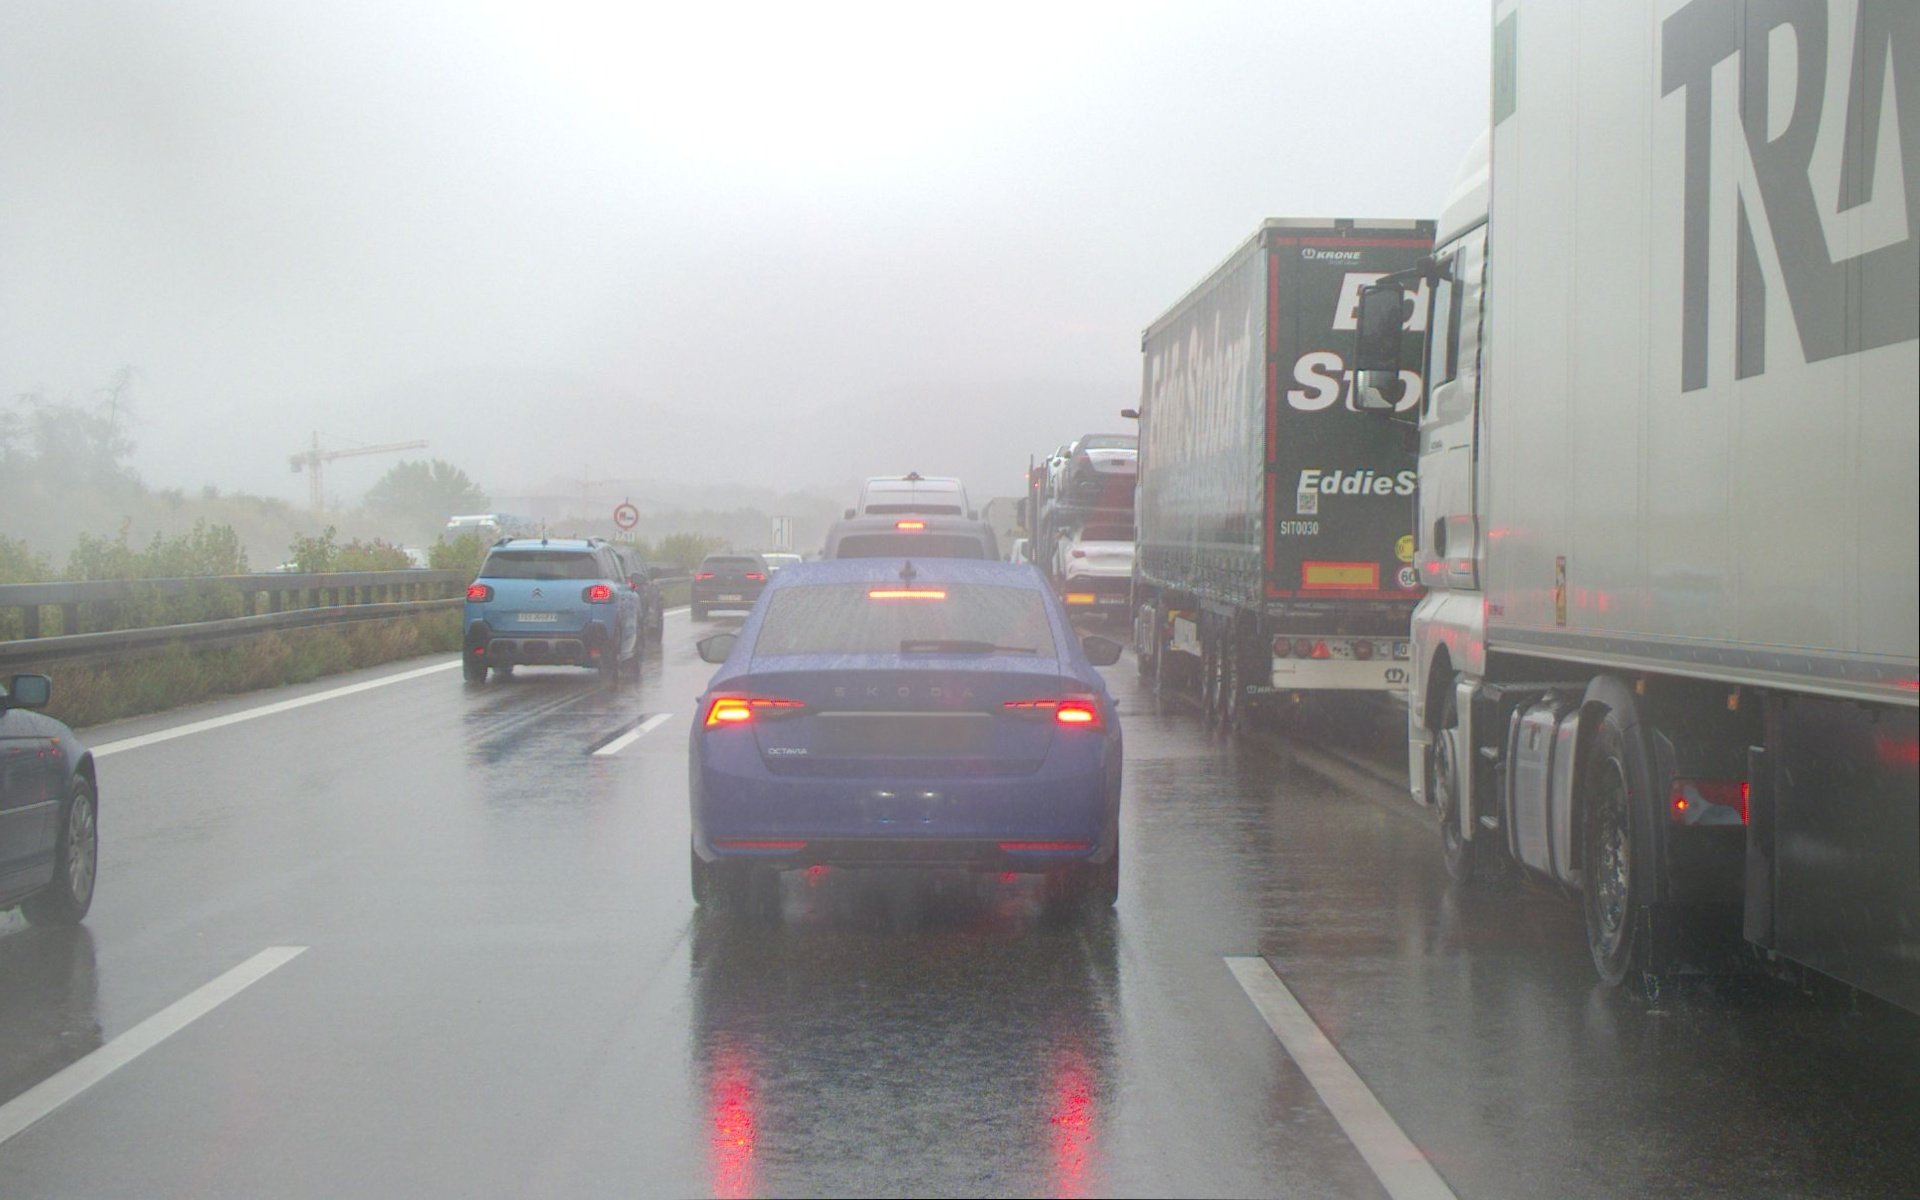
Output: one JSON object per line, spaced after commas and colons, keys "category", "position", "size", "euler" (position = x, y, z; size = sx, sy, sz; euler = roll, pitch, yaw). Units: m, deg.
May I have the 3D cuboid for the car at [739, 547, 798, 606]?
{"category": "car", "position": [-5.165, -0.658, 93.068], "size": [1.439, 1.528, 3.322], "euler": [0, 1, 0]}

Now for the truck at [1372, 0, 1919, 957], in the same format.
{"category": "truck", "position": [3.332, -0.734, 14.191], "size": [2.630, 3.814, 4.791], "euler": [0, 1, 0]}

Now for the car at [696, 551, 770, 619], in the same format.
{"category": "car", "position": [-4.980, -0.350, 75.693], "size": [1.439, 1.415, 3.322], "euler": [0, 1, 0]}

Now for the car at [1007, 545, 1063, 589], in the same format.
{"category": "car", "position": [2.345, -1.046, 108.504], "size": [1.638, 1.323, 3.367], "euler": [0, 2, -1]}

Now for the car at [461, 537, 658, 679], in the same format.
{"category": "car", "position": [-4.482, 0.049, 39.005], "size": [1.722, 1.518, 4.000], "euler": [0, 1, 1]}

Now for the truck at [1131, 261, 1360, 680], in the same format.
{"category": "truck", "position": [2.960, -1.340, 36.451], "size": [2.047, 4.178, 4.000], "euler": [0, 1, 0]}

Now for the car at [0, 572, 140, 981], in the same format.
{"category": "car", "position": [-4.184, 0.620, 11.737], "size": [1.718, 1.395, 4.230], "euler": [0, 1, 1]}

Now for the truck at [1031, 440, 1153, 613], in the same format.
{"category": "truck", "position": [2.693, -1.568, 71.830], "size": [1.993, 3.410, 8.033], "euler": [0, 2, -2]}

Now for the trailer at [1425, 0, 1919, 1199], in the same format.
{"category": "trailer", "position": [3.376, -0.666, 7.449], "size": [2.630, 3.999, 14.630], "euler": [0, 1, 0]}

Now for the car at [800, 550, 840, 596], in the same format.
{"category": "car", "position": [-5.487, -1.071, 135.207], "size": [1.448, 1.777, 3.409], "euler": [1, 1, 0]}

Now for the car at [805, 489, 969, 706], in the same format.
{"category": "car", "position": [-0.612, -0.059, 29.833], "size": [1.336, 1.773, 3.322], "euler": [0, 1, 0]}

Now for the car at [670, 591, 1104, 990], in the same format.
{"category": "car", "position": [-0.262, 0.716, 15.011], "size": [1.635, 1.440, 4.000], "euler": [0, 1, 0]}

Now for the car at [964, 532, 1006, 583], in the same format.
{"category": "car", "position": [0.894, -1.546, 124.710], "size": [1.448, 1.777, 3.409], "euler": [1, 1, 0]}

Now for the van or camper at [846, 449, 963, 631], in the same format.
{"category": "van or camper", "position": [-0.871, -0.977, 55.384], "size": [1.797, 2.797, 4.768], "euler": [0, 1, 0]}

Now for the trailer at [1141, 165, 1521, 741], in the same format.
{"category": "trailer", "position": [2.985, -1.191, 30.621], "size": [2.047, 4.162, 11.449], "euler": [0, 1, 0]}

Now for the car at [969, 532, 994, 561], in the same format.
{"category": "car", "position": [1.344, -3.339, 215.797], "size": [1.448, 1.777, 3.409], "euler": [1, 1, 0]}
